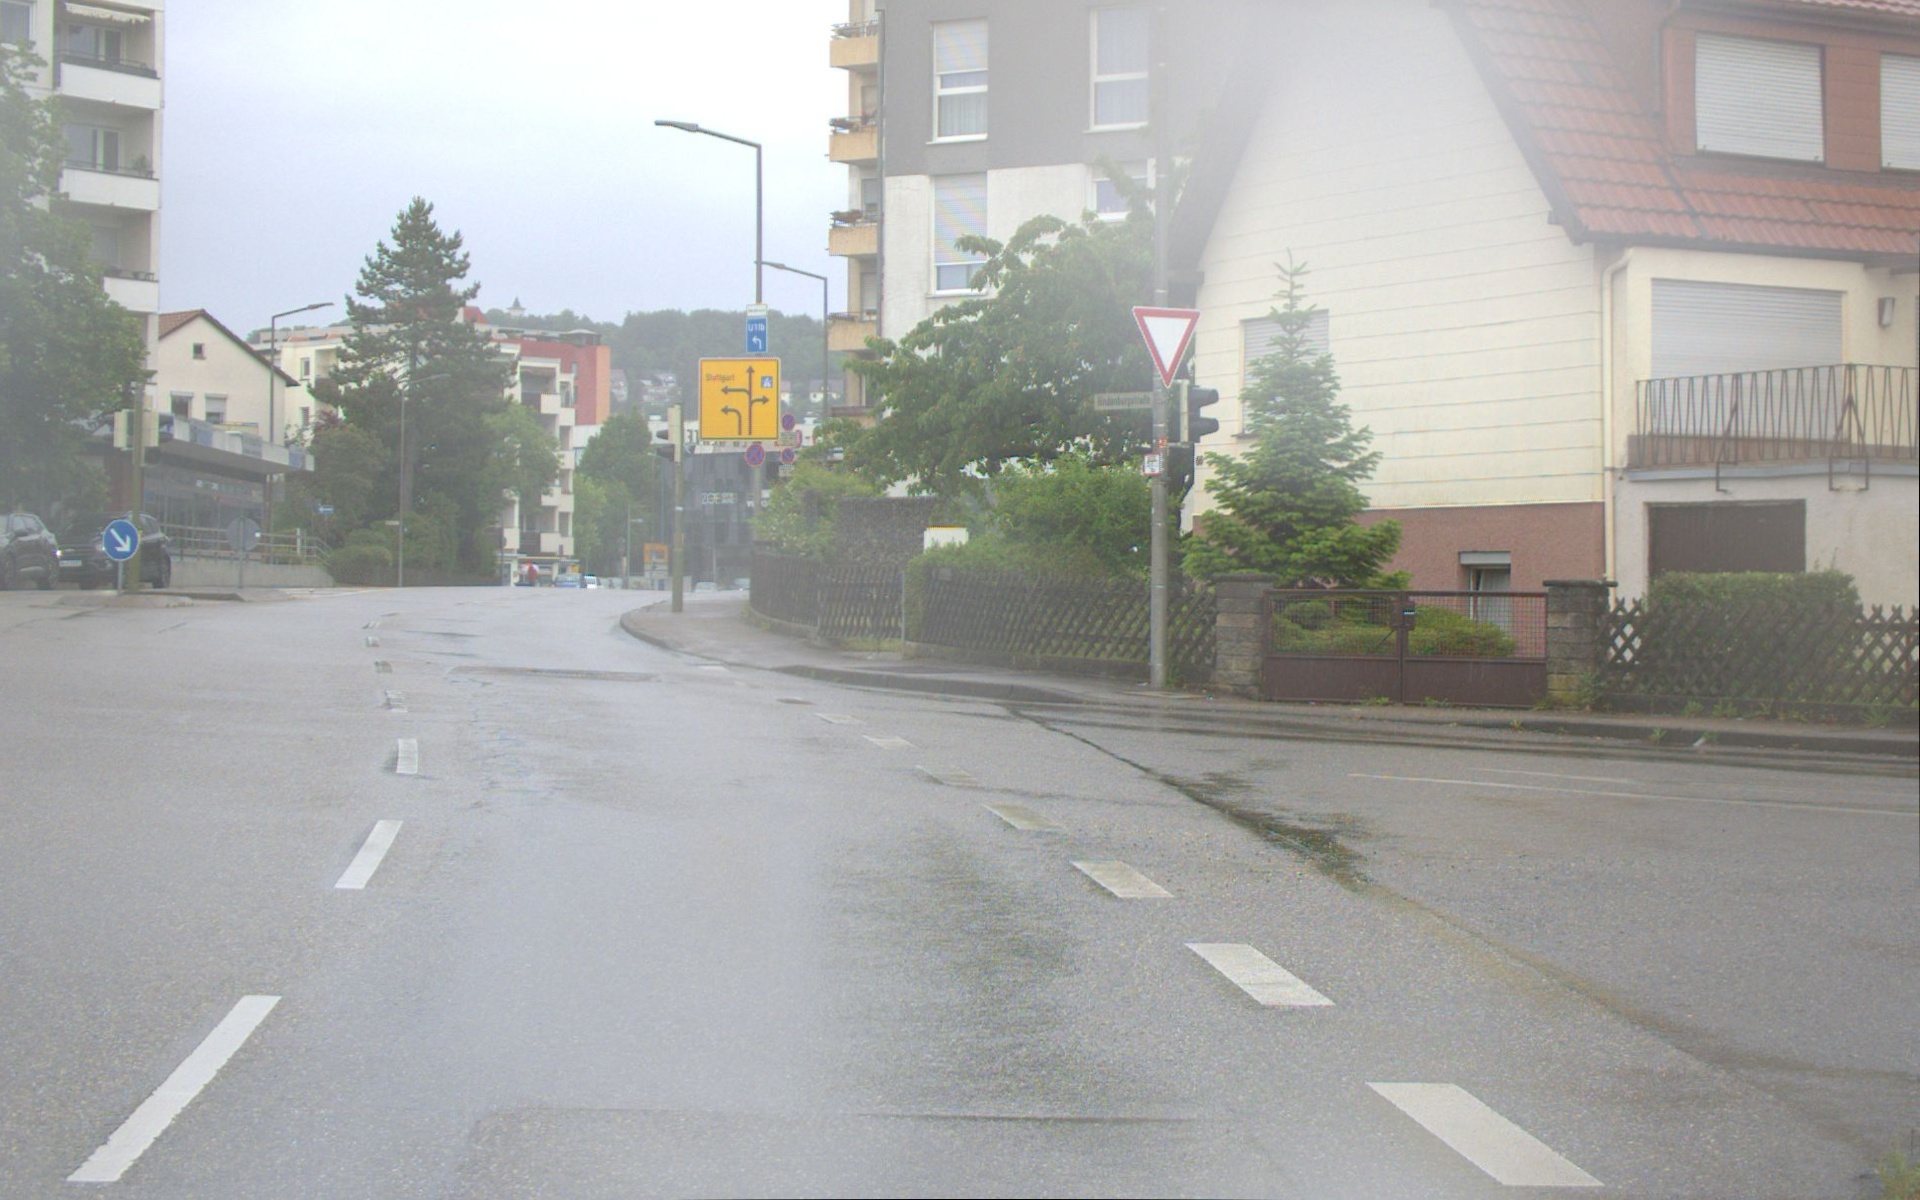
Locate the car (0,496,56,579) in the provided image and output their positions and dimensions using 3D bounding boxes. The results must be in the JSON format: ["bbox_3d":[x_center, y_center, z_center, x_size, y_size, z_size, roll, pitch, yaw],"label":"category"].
[{"bbox_3d":[-18.333,-1.166,64.187,1.967,1.507,4.000,1,1,-2],"label":"car"}]

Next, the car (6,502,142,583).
[{"bbox_3d":[-18.326,-1.181,71.263,1.879,1.592,4.185,1,1,-2],"label":"car"}]
